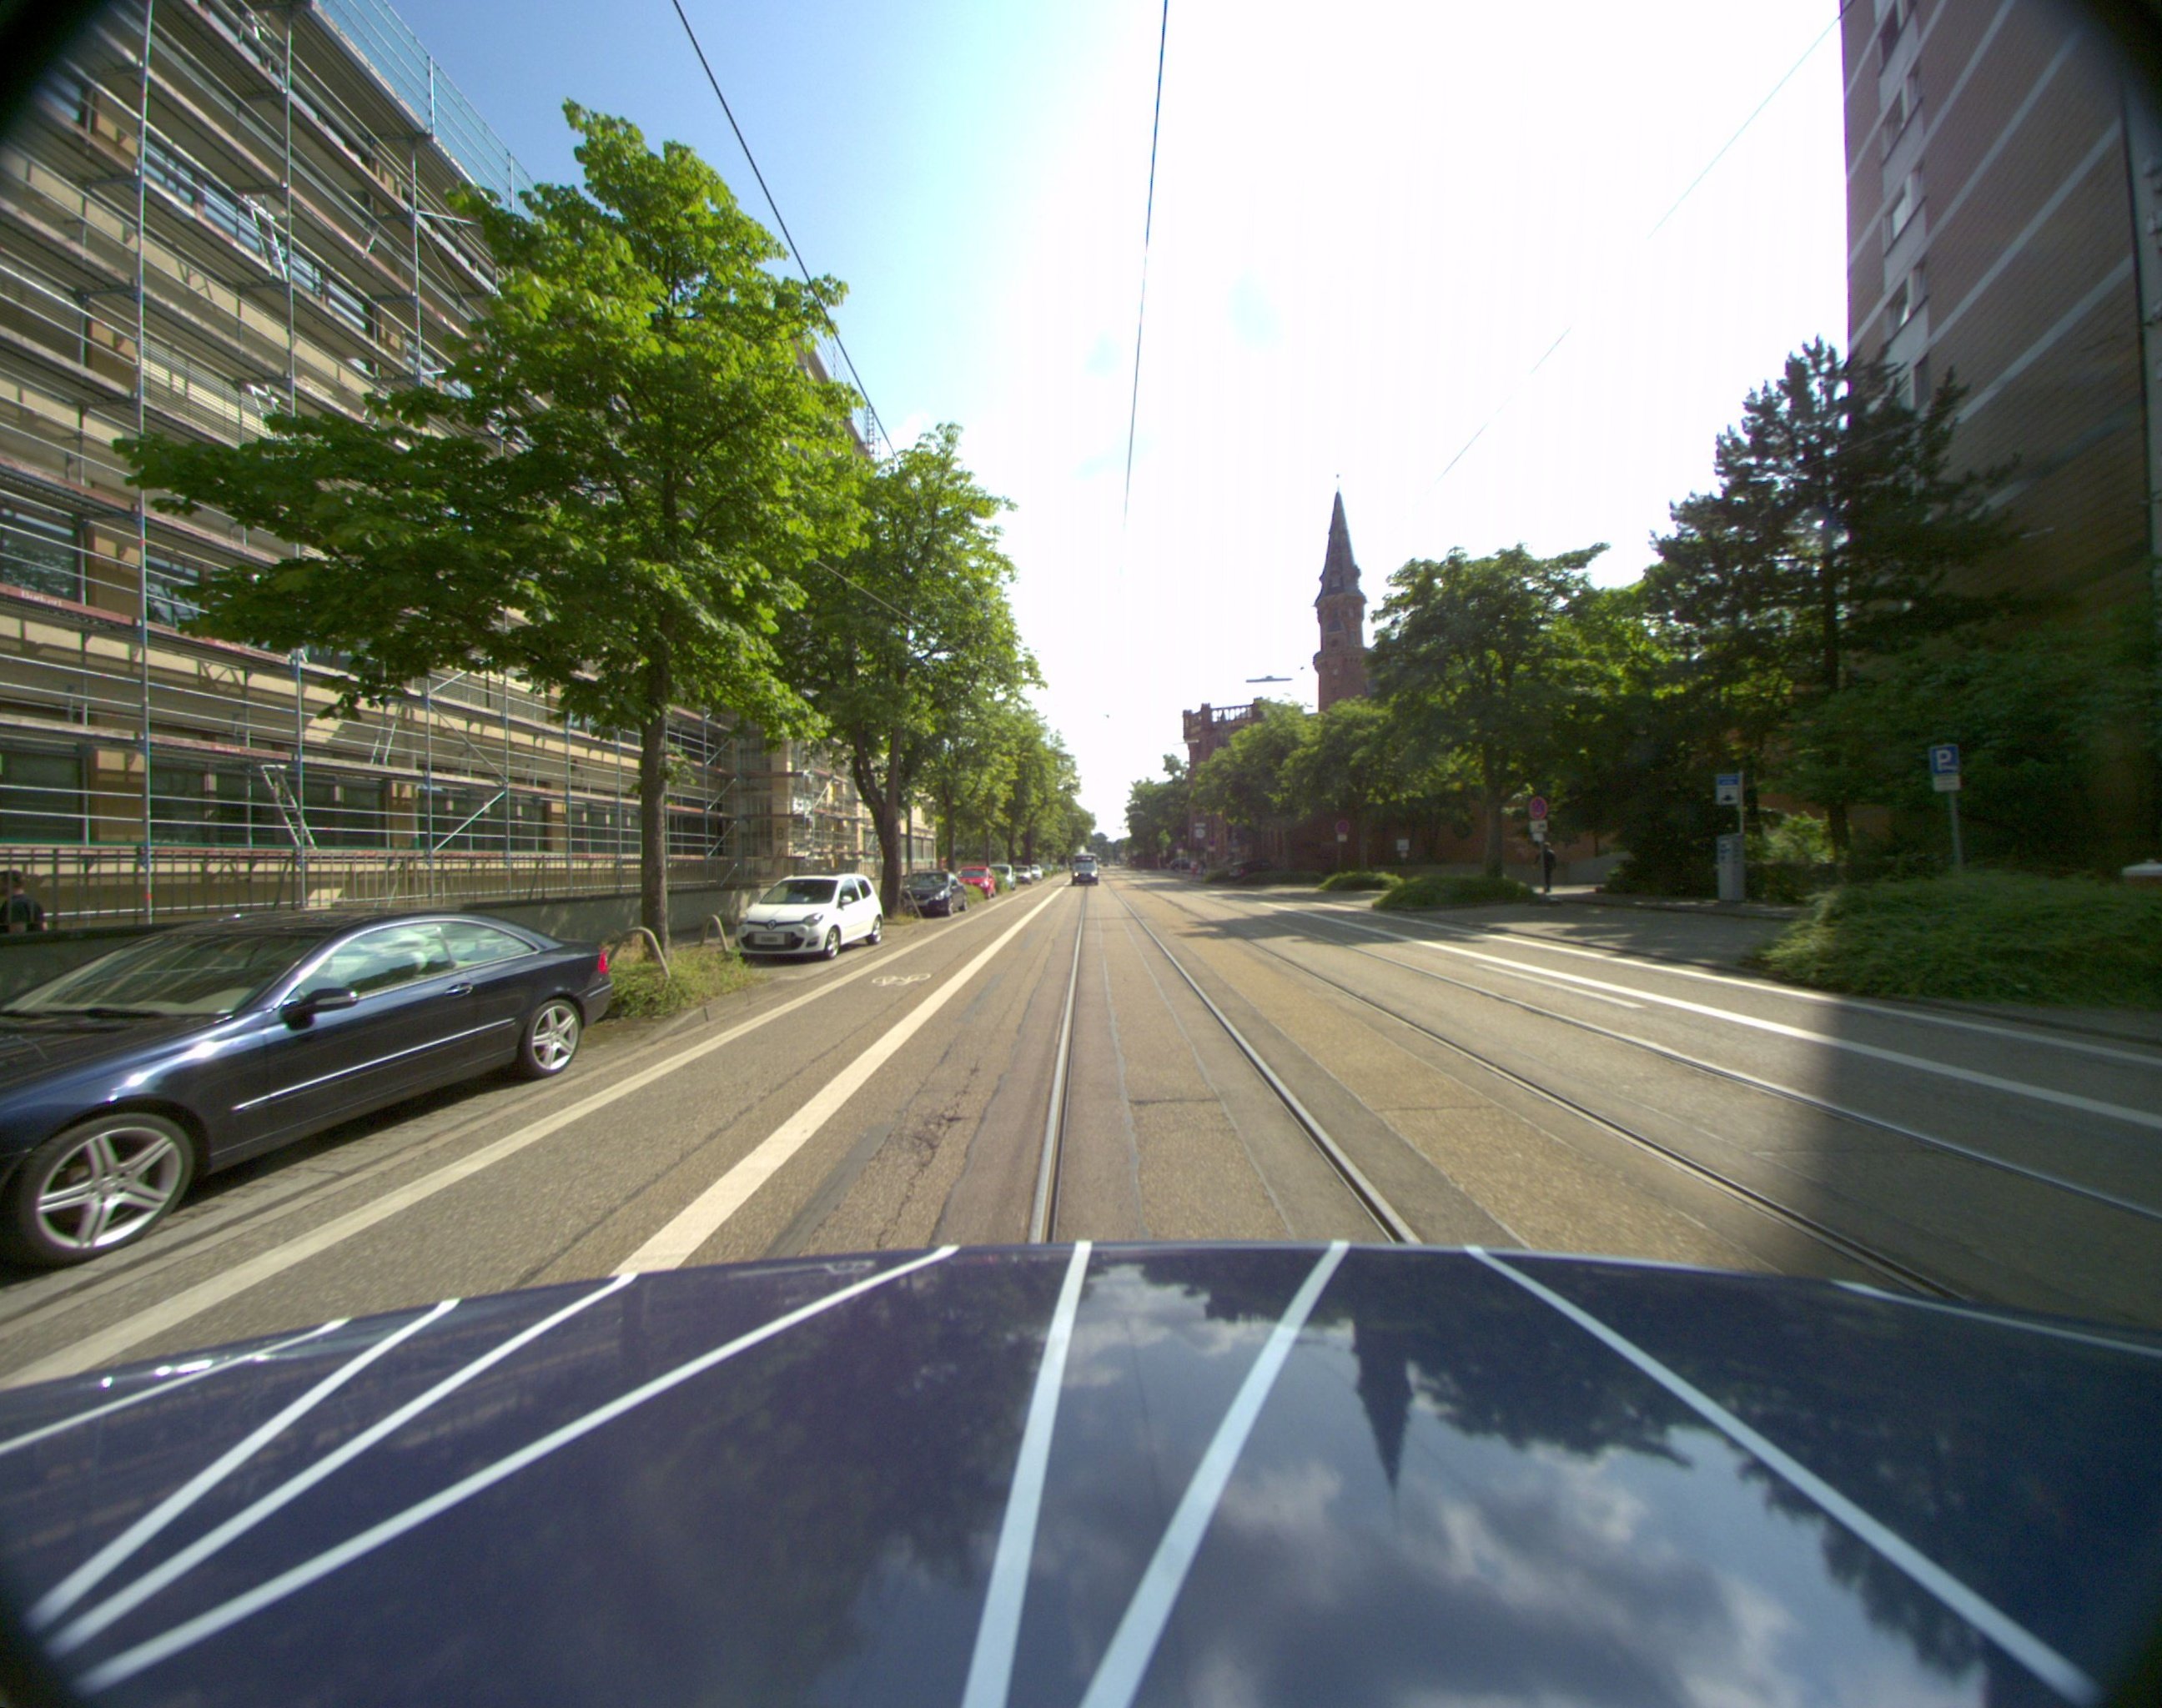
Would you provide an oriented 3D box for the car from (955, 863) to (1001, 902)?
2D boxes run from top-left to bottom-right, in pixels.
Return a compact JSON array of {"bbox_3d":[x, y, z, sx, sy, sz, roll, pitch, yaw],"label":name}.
[{"bbox_3d":[-4.698,1.289,35.080,1.532,1.565,3.647,-2,1,1],"label":"car"}]

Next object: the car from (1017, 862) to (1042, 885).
[{"bbox_3d":[-3.827,1.433,57.325,1.532,1.565,3.647,-2,1,1],"label":"car"}]

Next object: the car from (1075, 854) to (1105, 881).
[{"bbox_3d":[0.560,0.893,51.953,1.945,1.763,4.837,0,0,-1],"label":"car"}]

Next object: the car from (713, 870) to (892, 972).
[{"bbox_3d":[-4.948,1.122,14.125,1.568,1.448,3.896,-2,1,5],"label":"car"}]

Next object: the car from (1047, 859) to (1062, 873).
[{"bbox_3d":[-3.111,1.368,88.438,1.532,1.565,3.647,-2,1,1],"label":"car"}]

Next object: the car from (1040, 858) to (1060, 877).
[{"bbox_3d":[-2.833,1.241,69.886,1.532,1.565,3.647,-2,1,1],"label":"car"}]

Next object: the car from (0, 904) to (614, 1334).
[{"bbox_3d":[-5.104,1.176,4.584,1.739,1.364,4.507,1,1,1],"label":"car"}]

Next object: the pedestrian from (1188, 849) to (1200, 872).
[{"bbox_3d":[9.997,0.597,67.442,0.904,2.002,1.057,-2,1,4],"label":"pedestrian"}]

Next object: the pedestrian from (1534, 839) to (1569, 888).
[{"bbox_3d":[16.183,0.313,26.157,0.764,1.620,0.738,-2,1,10],"label":"pedestrian"}]

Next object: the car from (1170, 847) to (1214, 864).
[{"bbox_3d":[13.957,0.157,95.789,5.166,2.002,1.999,-2,1,-2],"label":"car"}]

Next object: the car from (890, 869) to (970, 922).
[{"bbox_3d":[-4.739,1.271,24.383,1.737,1.390,3.630,-2,1,1],"label":"car"}]

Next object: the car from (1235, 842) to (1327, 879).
[{"bbox_3d":[12.233,0.389,46.778,5.163,2.002,2.000,-2,1,5],"label":"car"}]

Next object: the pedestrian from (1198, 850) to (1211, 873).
[{"bbox_3d":[10.983,0.692,67.464,0.905,2.002,1.057,-2,1,2],"label":"pedestrian"}]
